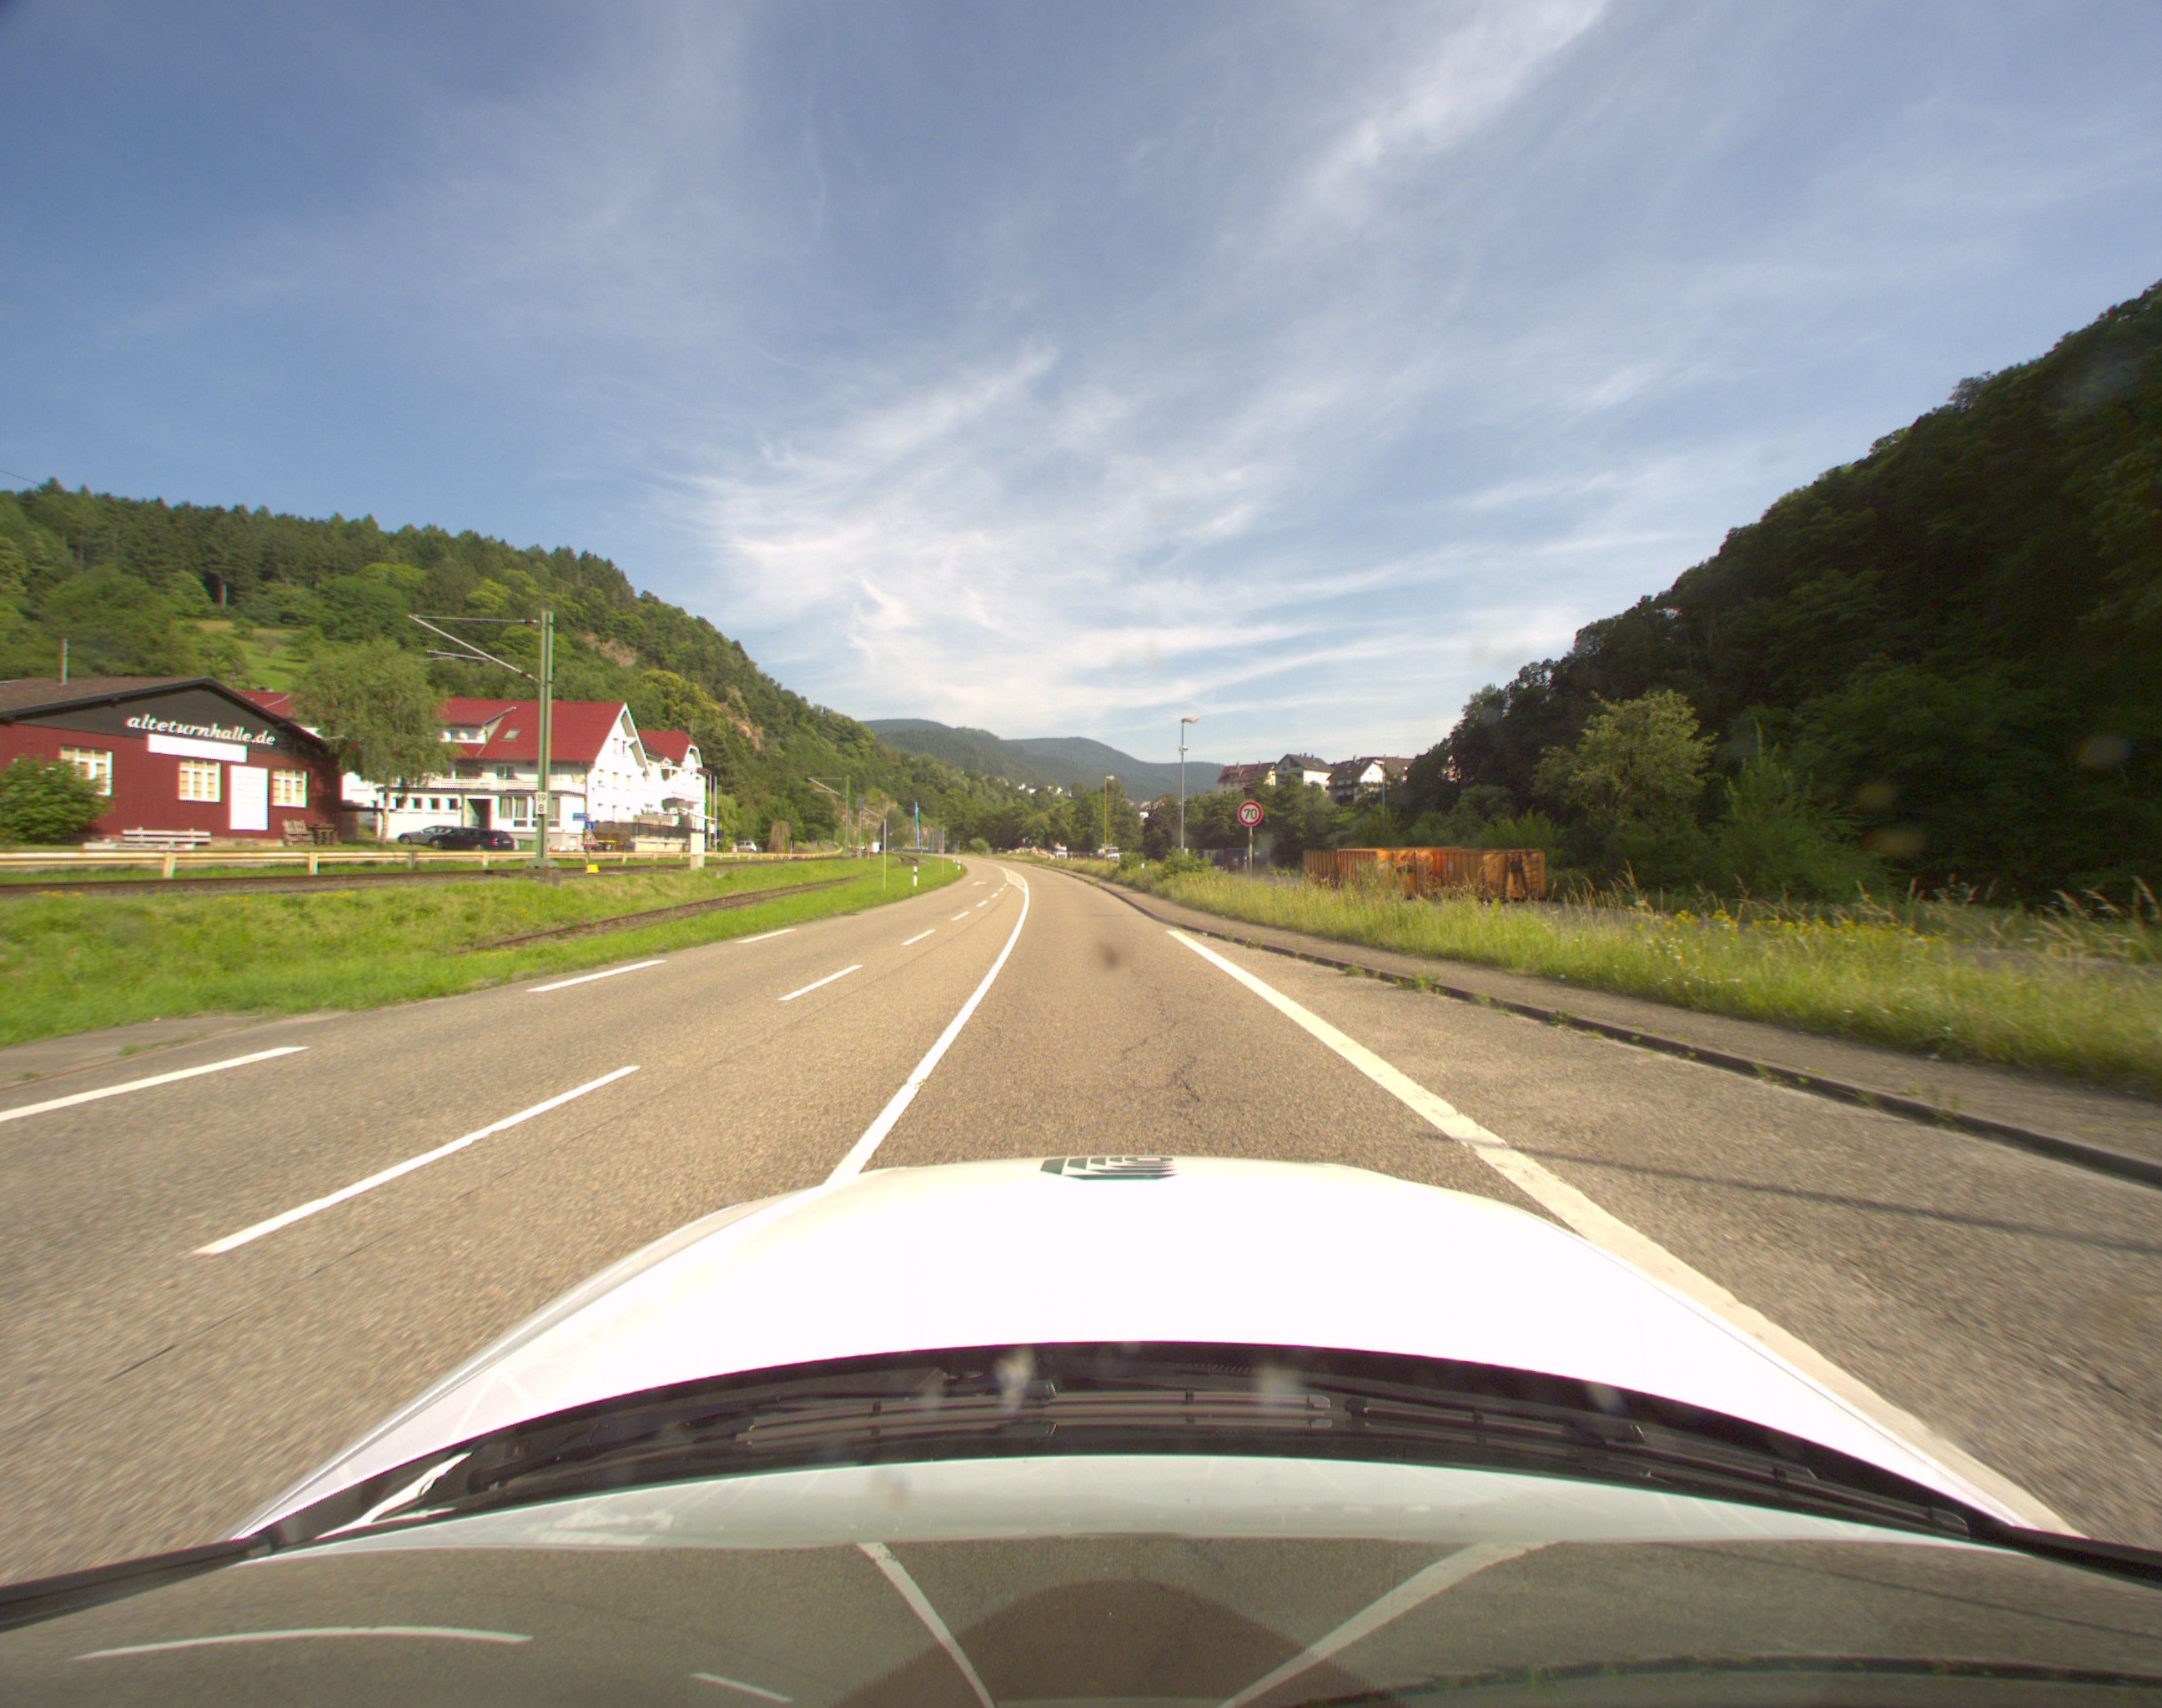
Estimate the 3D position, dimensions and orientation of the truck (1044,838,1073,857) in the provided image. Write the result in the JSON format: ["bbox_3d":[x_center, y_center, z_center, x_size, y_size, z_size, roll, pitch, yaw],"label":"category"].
[{"bbox_3d":[-4.562,-1.306,164.294,3.114,3.782,8.586,1,0,-20],"label":"truck"}]

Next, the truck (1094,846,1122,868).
[{"bbox_3d":[4.865,0.573,147.824,3.105,3.782,8.611,1,0,-11],"label":"truck"}]

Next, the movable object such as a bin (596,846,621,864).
[{"bbox_3d":[-32.531,0.086,56.040,1.088,1.192,1.140,1,0,-7],"label":"movable object such as a bin"}]

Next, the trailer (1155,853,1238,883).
[{"bbox_3d":[6.843,0.764,50.050,2.788,1.474,9.869,2,0,-5],"label":"trailer"}]

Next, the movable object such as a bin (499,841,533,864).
[{"bbox_3d":[-30.260,-0.093,43.618,1.140,1.192,1.089,1,0,-12],"label":"movable object such as a bin"}]

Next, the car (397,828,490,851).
[{"bbox_3d":[-39.387,-0.896,50.398,4.248,1.329,1.751,1,1,-6],"label":"car"}]

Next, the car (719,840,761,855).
[{"bbox_3d":[-39.446,-0.721,94.297,4.141,1.691,1.995,0,0,-8],"label":"car"}]

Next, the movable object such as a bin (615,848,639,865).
[{"bbox_3d":[-31.387,0.158,56.284,1.088,1.192,1.140,1,0,-7],"label":"movable object such as a bin"}]

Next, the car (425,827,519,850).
[{"bbox_3d":[-35.731,-0.900,47.836,4.088,1.270,1.734,1,1,-5],"label":"car"}]

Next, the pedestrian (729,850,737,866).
[{"bbox_3d":[-35.681,0.402,83.489,0.606,1.616,0.675,1,0,-10],"label":"pedestrian"}]

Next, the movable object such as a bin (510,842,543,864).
[{"bbox_3d":[-30.493,-0.075,44.825,1.140,1.192,1.089,1,0,-12],"label":"movable object such as a bin"}]
